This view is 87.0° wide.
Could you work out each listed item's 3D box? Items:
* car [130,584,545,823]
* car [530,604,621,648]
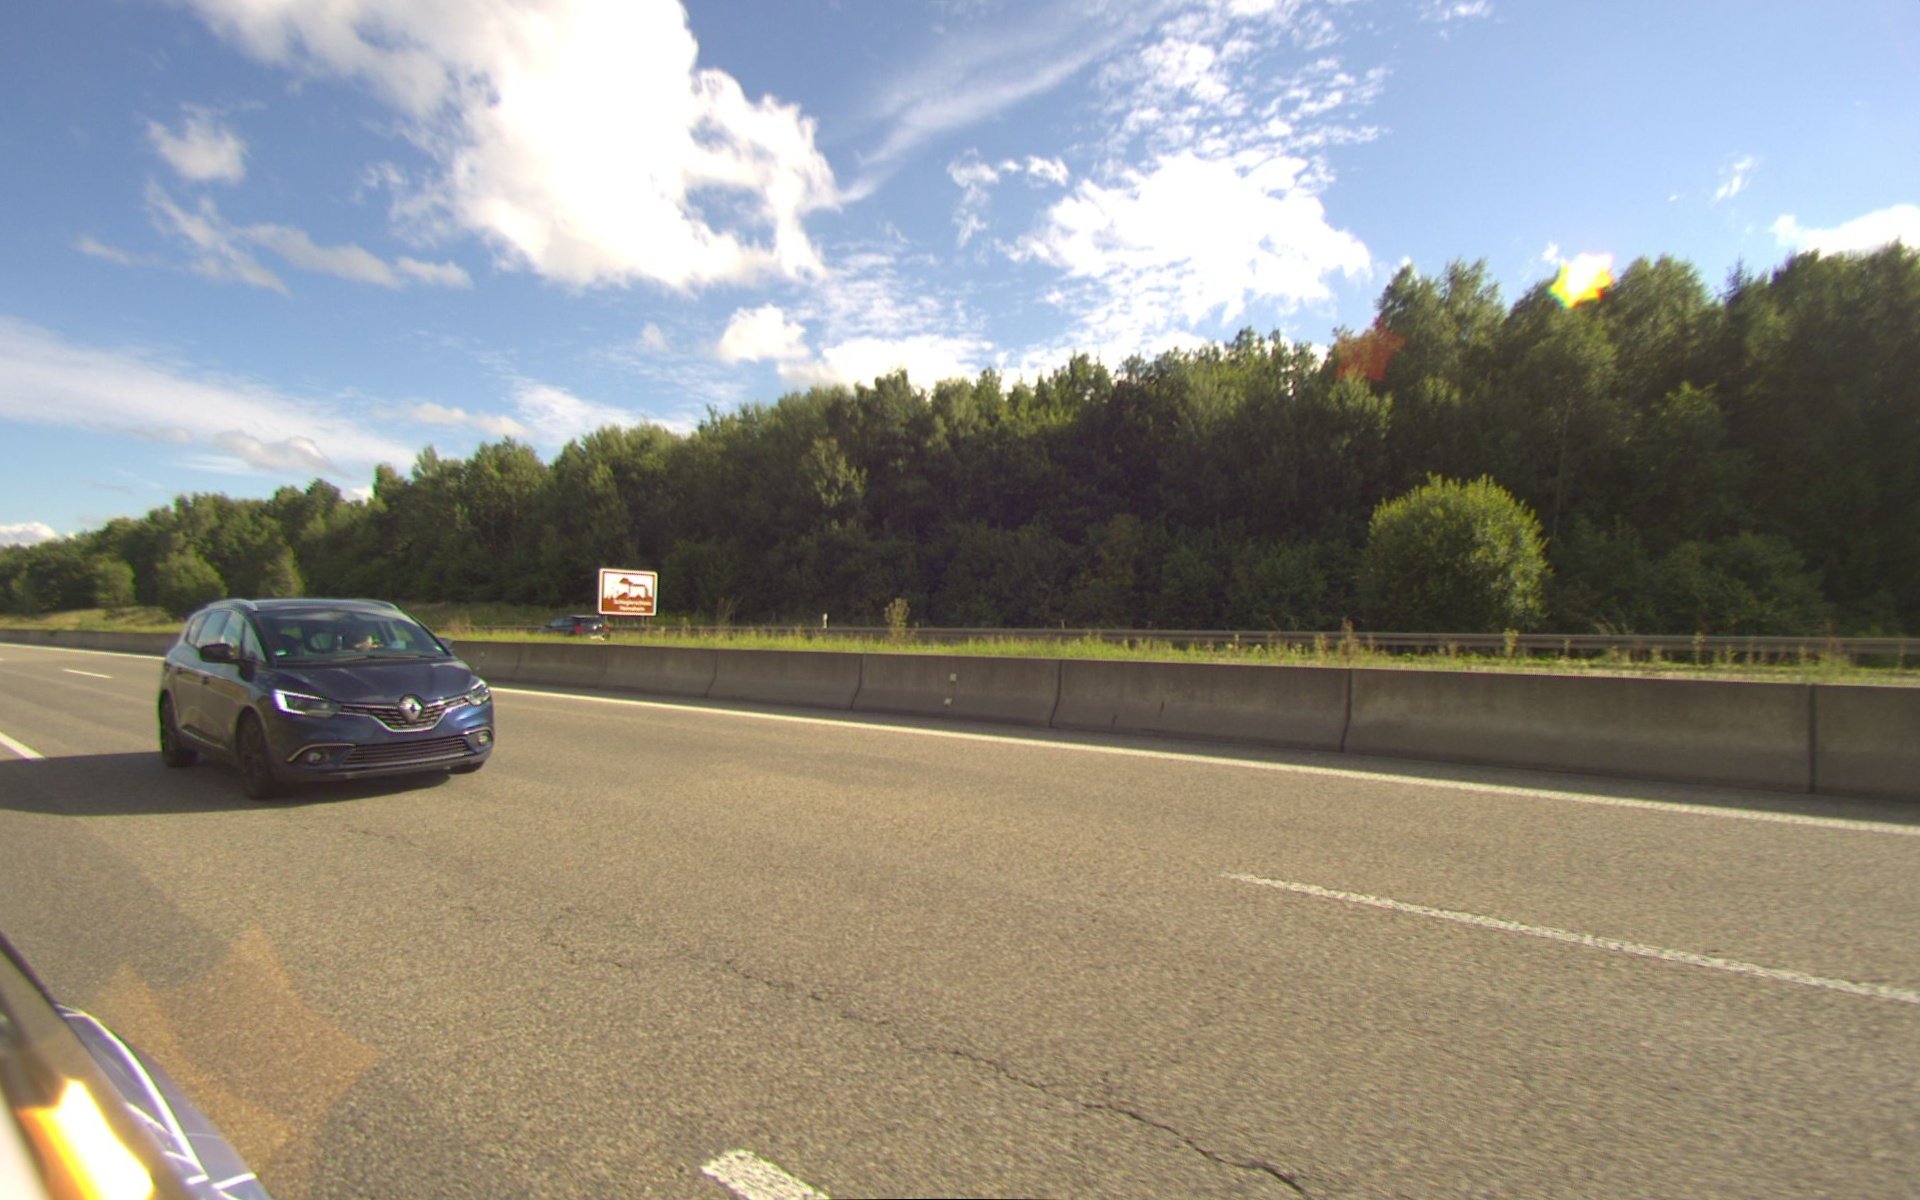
[{"bbox_3d":[-5.989,0.768,9.507,4.525,1.719,1.974,-1,0,40],"label":"car"},{"bbox_3d":[-16.353,1.083,42.968,4.047,1.760,1.973,-1,-1,41],"label":"car"}]
